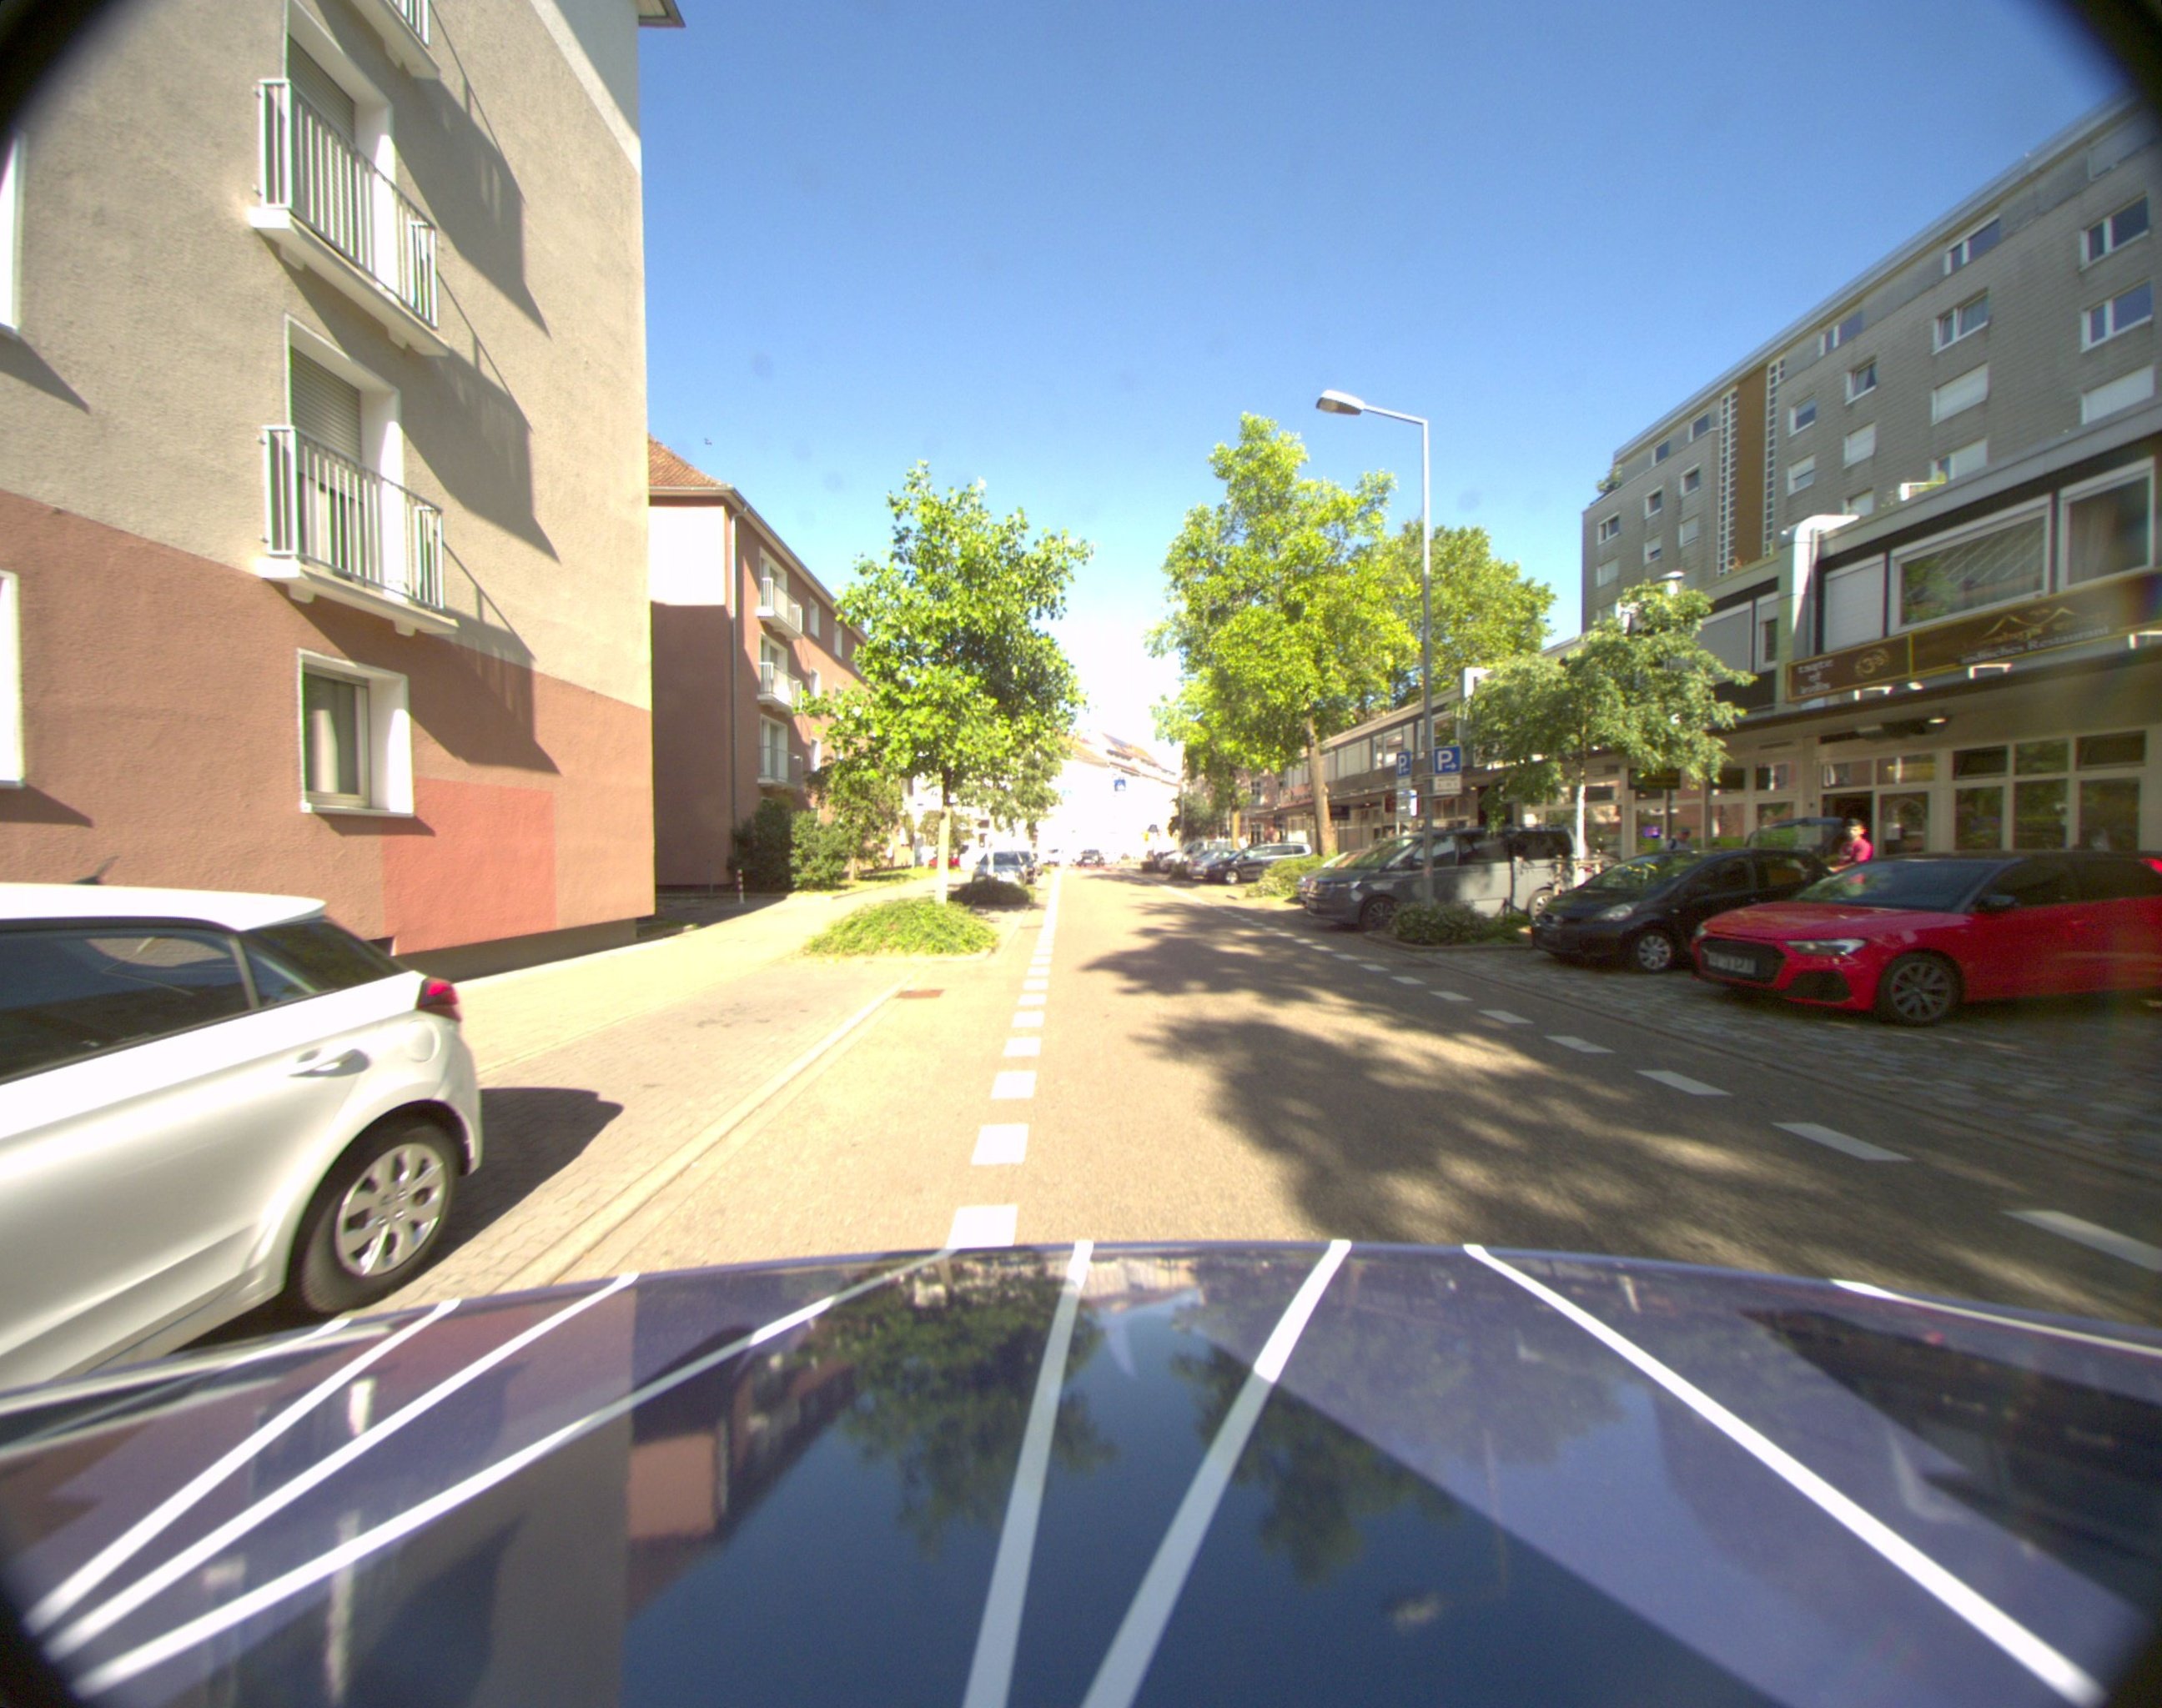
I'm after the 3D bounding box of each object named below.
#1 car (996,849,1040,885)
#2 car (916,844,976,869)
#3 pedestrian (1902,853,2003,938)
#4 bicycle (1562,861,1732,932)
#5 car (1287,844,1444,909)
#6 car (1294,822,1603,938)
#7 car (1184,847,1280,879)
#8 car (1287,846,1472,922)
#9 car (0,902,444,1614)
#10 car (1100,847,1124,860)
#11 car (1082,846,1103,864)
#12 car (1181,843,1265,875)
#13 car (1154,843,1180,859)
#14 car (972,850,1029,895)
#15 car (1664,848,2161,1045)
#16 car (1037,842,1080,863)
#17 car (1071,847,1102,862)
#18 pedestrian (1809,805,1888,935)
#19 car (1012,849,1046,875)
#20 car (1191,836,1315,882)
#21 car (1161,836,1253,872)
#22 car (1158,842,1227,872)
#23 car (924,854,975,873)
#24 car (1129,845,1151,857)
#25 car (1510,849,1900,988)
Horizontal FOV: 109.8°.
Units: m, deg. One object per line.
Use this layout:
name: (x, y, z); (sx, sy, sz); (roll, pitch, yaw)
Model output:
car: (-2.767, 0.517, 34.057); (1.662, 1.474, 4.310); (-1, 1, -1)
car: (-11.221, 0.215, 63.593); (4.757, 2.002, 1.999); (-1, 1, -6)
pedestrian: (13.182, 0.614, 11.520); (0.651, 1.239, 0.746); (0, 1, -1)
bicycle: (9.631, 0.706, 13.005); (2.241, 1.161, 0.801); (0, 1, 4)
car: (7.597, 0.571, 20.515); (3.595, 1.552, 1.672); (-2, 1, -1)
car: (6.909, 0.456, 14.663); (5.043, 1.927, 1.872); (-2, 1, -1)
car: (6.866, 0.399, 34.813); (3.998, 1.390, 1.759); (-1, 1, -3)
car: (6.786, 0.641, 17.515); (3.567, 1.545, 1.661); (-2, 1, -2)
car: (-3.245, 0.956, 0.996); (1.736, 1.477, 3.793); (1, 1, -2)
car: (3.522, -0.084, 84.898); (1.632, 1.413, 3.299); (0, 1, 22)
car: (0.941, 0.047, 64.970); (1.612, 1.445, 3.293); (0, 1, -2)
car: (7.390, 0.254, 39.771); (3.998, 1.413, 1.736); (-4, 1, -3)
car: (9.232, -0.350, 81.031); (1.670, 1.628, 4.054); (0, 1, 23)
car: (-2.855, 0.614, 27.702); (1.720, 1.445, 3.999); (0, 1, -1)
car: (7.967, 0.735, 6.994); (3.928, 1.442, 1.709); (-2, 1, -2)
car: (-2.016, -0.171, 69.677); (1.908, 1.924, 4.817); (0, 1, 25)
car: (0.593, 0.072, 78.014); (2.130, 1.487, 3.950); (0, 1, 18)
pedestrian: (10.491, 0.207, 10.406); (0.579, 1.702, 0.636); (0, 1, 27)
car: (-2.993, 0.405, 44.414); (1.736, 1.420, 3.999); (-1, 1, 0)
car: (7.238, 0.198, 32.255); (4.782, 1.767, 1.873); (-2, 1, -3)
car: (7.350, -0.011, 44.658); (4.996, 1.958, 1.909); (-2, 1, -3)
car: (6.885, 0.158, 47.225); (3.998, 1.781, 1.757); (-1, 1, -2)
car: (-10.042, 0.746, 58.162); (3.648, 1.394, 1.568); (-1, 1, -1)
car: (6.787, -0.351, 87.006); (1.632, 1.413, 3.299); (0, 1, 22)
car: (7.654, 0.720, 9.523); (3.677, 1.442, 1.612); (-2, 1, -4)
